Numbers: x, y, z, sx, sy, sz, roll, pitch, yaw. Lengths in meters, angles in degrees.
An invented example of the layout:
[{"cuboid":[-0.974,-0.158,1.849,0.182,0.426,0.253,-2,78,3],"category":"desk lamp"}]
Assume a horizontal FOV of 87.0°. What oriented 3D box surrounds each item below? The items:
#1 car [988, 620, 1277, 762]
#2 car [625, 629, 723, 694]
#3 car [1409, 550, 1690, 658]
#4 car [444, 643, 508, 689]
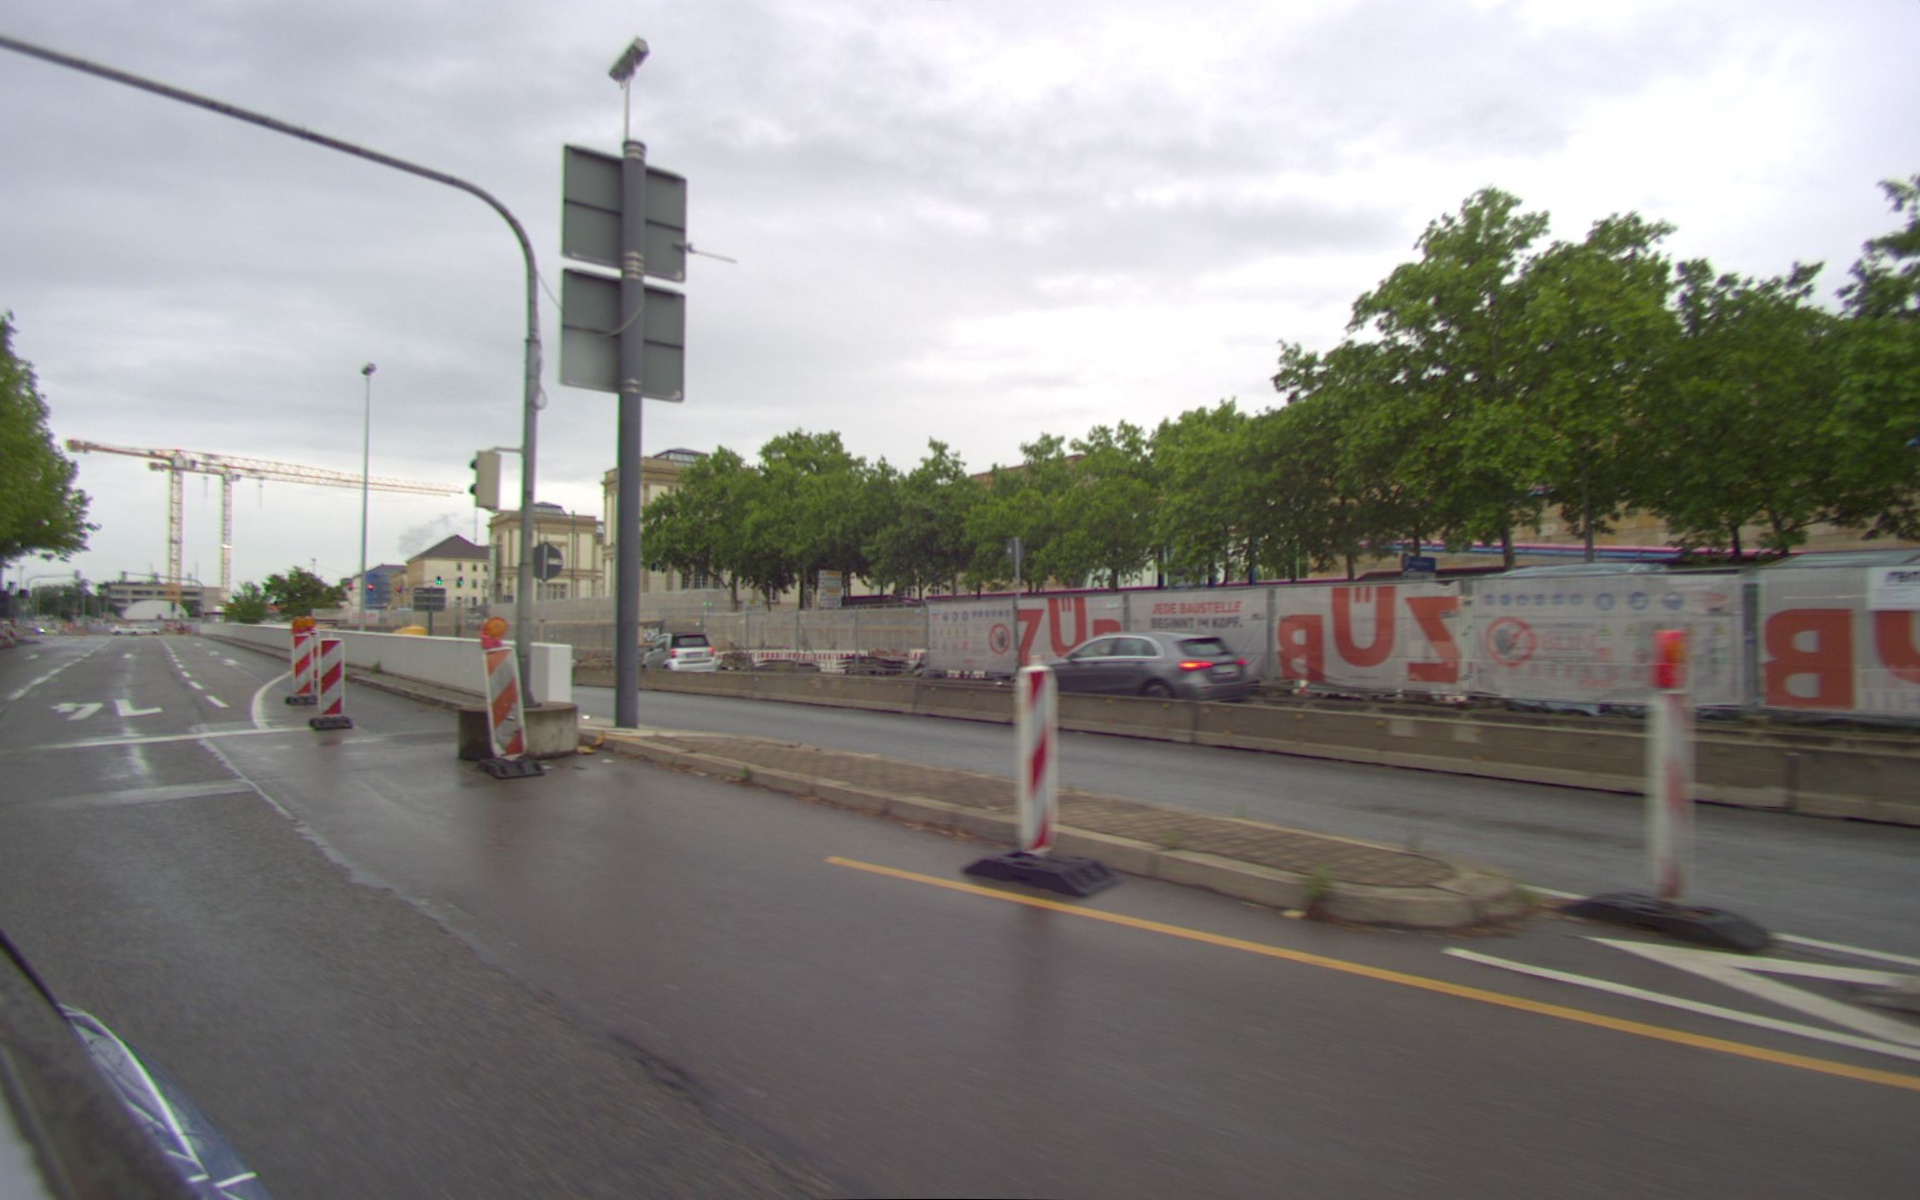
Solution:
[{"cuboid":[2.797,1.419,17.382,1.884,2.029,4.766,3,-2,-40],"category":"car"},{"cuboid":[-9.019,1.881,31.785,1.679,1.882,3.363,3,-2,-40],"category":"car"},{"cuboid":[12.338,0.180,21.504,1.967,2.029,4.727,1,-3,-37],"category":"car"},{"cuboid":[-23.435,3.152,48.945,1.874,2.029,4.007,3,-2,-39],"category":"car"}]
